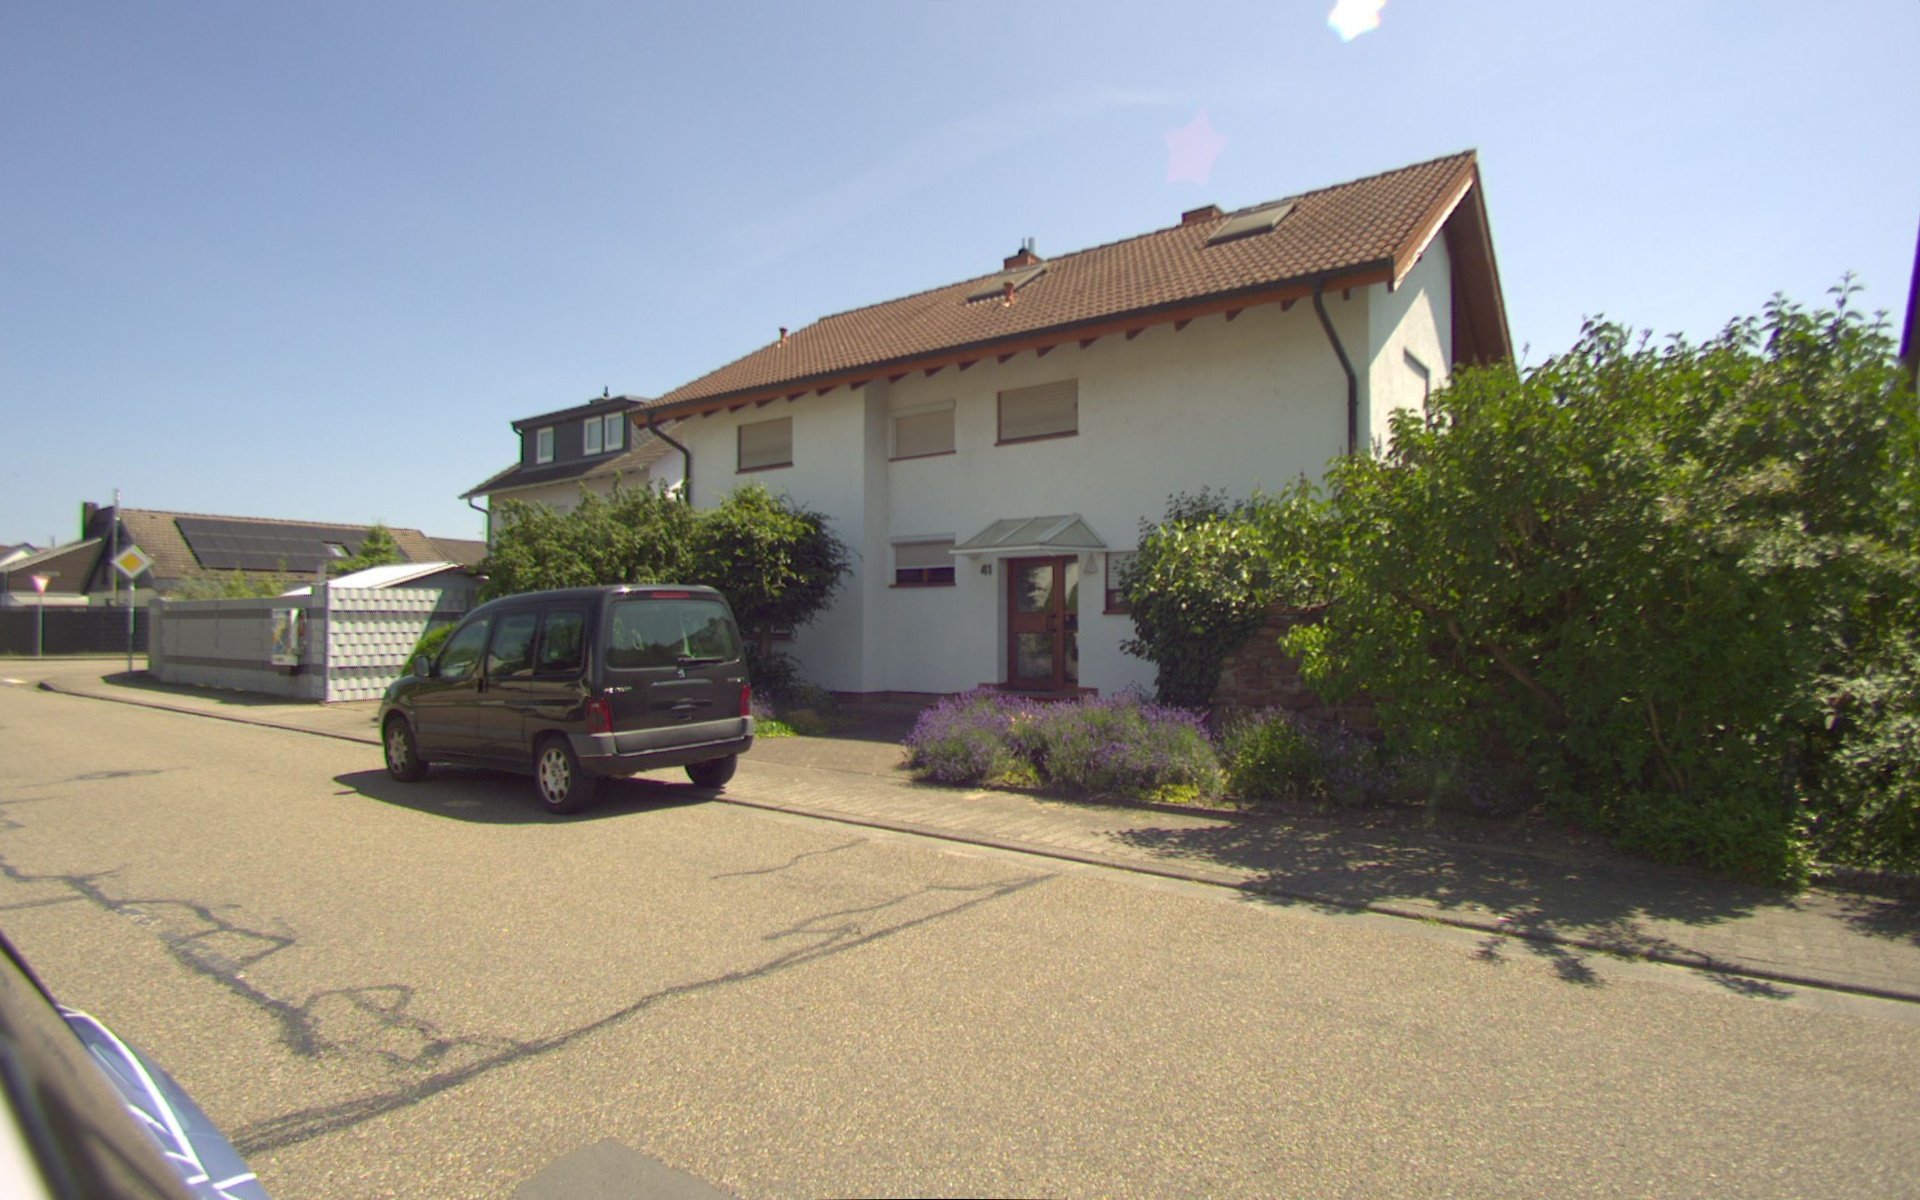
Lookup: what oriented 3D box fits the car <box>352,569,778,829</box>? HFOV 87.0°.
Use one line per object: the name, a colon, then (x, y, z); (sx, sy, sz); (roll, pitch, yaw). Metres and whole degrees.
car: (-3.678, 0.751, 9.163); (4.046, 1.860, 1.703); (-1, -2, 36)
